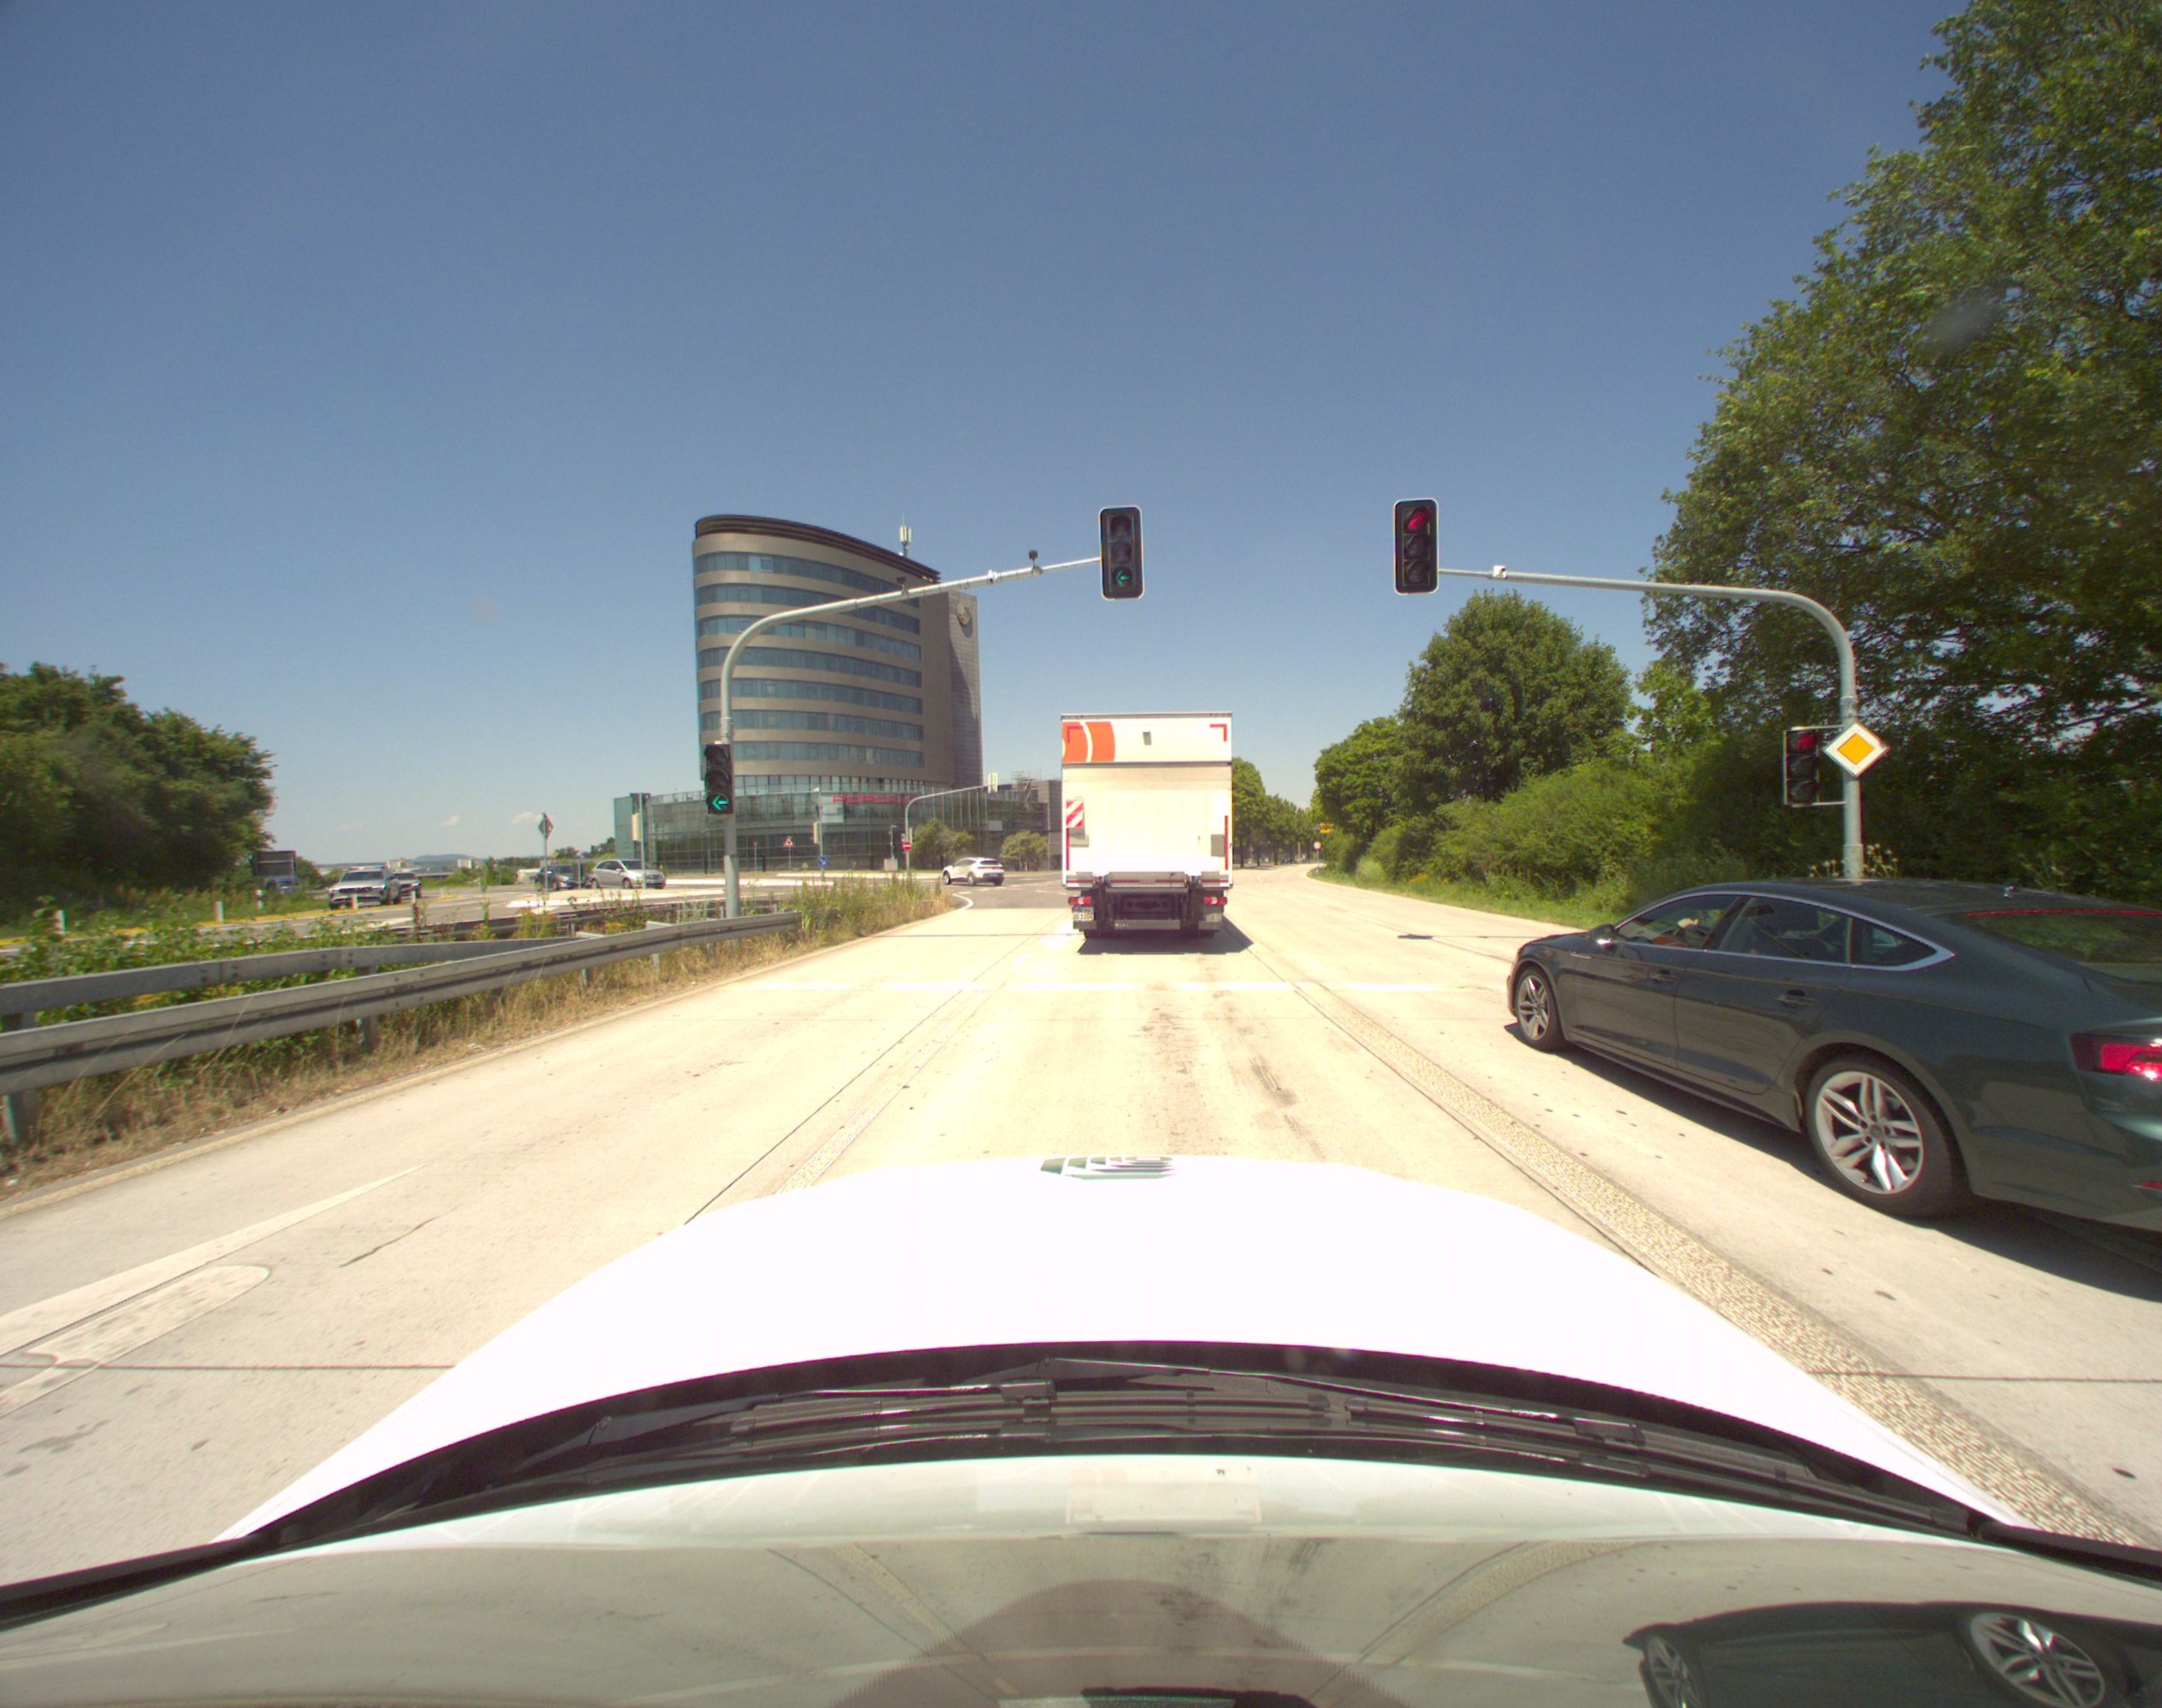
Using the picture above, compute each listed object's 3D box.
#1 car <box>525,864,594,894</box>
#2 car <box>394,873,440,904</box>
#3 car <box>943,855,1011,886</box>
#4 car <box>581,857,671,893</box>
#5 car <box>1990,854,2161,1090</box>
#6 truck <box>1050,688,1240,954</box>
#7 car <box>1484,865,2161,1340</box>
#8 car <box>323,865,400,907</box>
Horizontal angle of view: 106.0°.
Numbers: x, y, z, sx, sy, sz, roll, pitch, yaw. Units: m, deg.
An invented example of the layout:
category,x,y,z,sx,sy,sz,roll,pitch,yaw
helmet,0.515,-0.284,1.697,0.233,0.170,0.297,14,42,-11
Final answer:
category,x,y,z,sx,sy,sz,roll,pitch,yaw
car,-28.546,1.377,44.527,4.273,1.456,1.708,-3,-2,36
car,-39.143,1.978,48.068,2.010,1.692,4.603,0,-1,-39
car,-5.611,0.877,43.775,1.817,1.557,3.954,0,-1,-39
car,-22.495,1.036,40.245,4.275,1.595,1.787,-3,-2,26
car,7.788,0.740,4.357,1.762,1.509,3.650,0,-1,-1
truck,1.340,-0.432,16.571,2.756,3.860,9.383,0,-1,5
car,4.268,0.786,4.754,1.760,1.410,4.613,0,-1,3
car,-32.699,1.406,37.152,2.008,1.773,4.806,0,-1,-34
